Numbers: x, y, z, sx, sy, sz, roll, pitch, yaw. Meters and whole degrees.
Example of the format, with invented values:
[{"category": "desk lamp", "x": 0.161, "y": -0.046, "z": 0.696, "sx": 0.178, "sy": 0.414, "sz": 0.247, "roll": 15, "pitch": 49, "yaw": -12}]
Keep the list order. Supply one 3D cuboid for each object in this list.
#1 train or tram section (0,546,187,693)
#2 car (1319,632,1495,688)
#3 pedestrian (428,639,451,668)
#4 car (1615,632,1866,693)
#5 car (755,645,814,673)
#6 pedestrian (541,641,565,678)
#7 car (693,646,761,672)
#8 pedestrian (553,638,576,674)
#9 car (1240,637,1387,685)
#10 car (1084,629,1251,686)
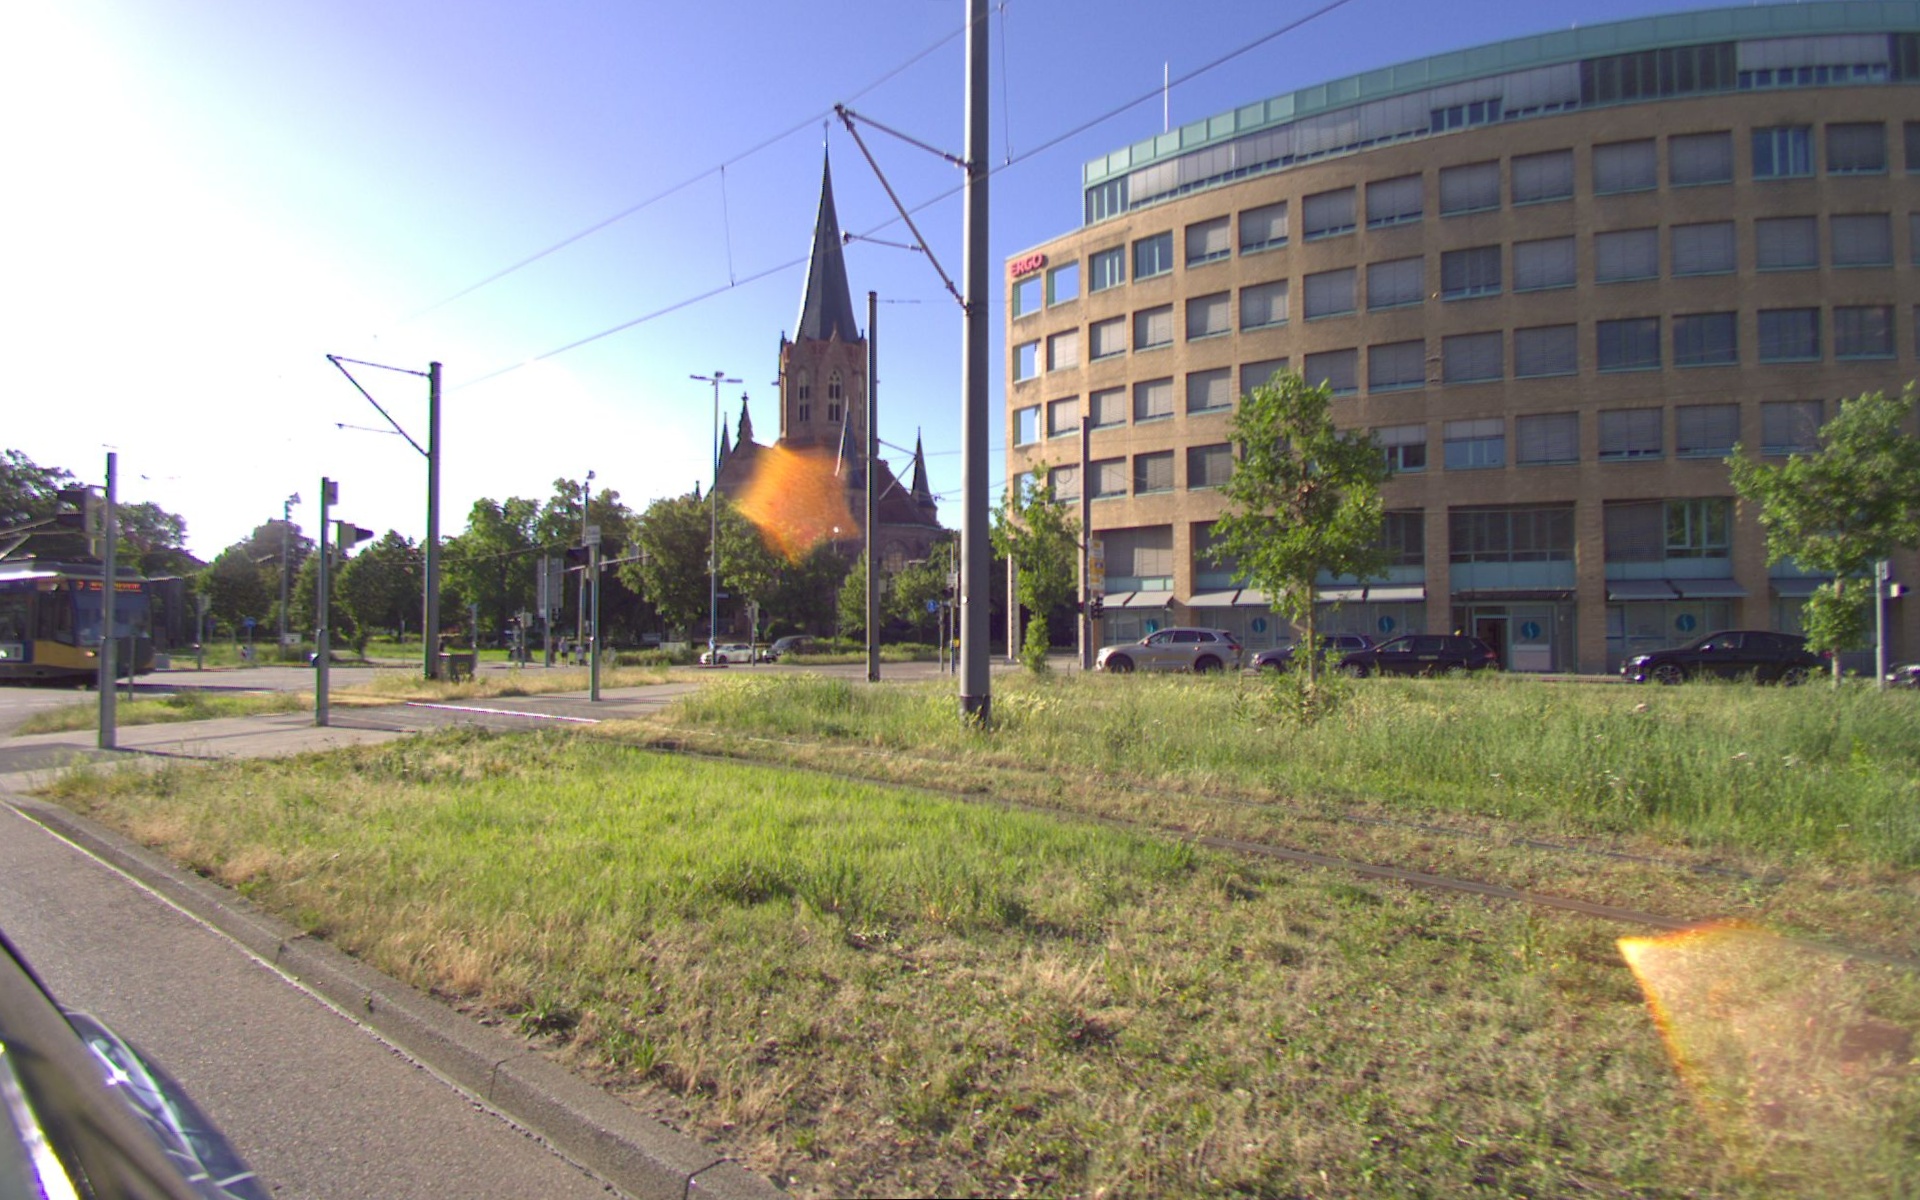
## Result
[{"category": "train or tram section", "x": -28.133, "y": 0.718, "z": 29.622, "sx": 13.104, "sy": 3.713, "sz": 2.934, "roll": -2, "pitch": -2, "yaw": 24}, {"category": "car", "x": 13.246, "y": 1.741, "z": 30.238, "sx": 4.633, "sy": 1.528, "sz": 1.984, "roll": -1, "pitch": -1, "yaw": 24}, {"category": "pedestrian", "x": -34.911, "y": 3.580, "z": 67.882, "sx": 1.108, "sy": 1.861, "sz": 0.839, "roll": -1, "pitch": -1, "yaw": 22}, {"category": "car", "x": 20.634, "y": 1.624, "z": 27.096, "sx": 4.995, "sy": 1.458, "sz": 1.981, "roll": -1, "pitch": -1, "yaw": 28}, {"category": "car", "x": -11.350, "y": 3.806, "z": 65.564, "sx": 1.828, "sy": 1.586, "sz": 3.908, "roll": -1, "pitch": -1, "yaw": 26}, {"category": "pedestrian", "x": -23.372, "y": 3.409, "z": 58.156, "sx": 0.920, "sy": 2.029, "sz": 0.871, "roll": -1, "pitch": -1, "yaw": 26}, {"category": "car", "x": -16.374, "y": 4.141, "z": 71.228, "sx": 1.766, "sy": 1.586, "sz": 4.655, "roll": -1, "pitch": -1, "yaw": 36}, {"category": "pedestrian", "x": -23.046, "y": 3.244, "z": 59.012, "sx": 0.920, "sy": 2.029, "sz": 0.871, "roll": -1, "pitch": -1, "yaw": 26}, {"category": "car", "x": 13.615, "y": 2.285, "z": 38.958, "sx": 5.180, "sy": 1.681, "sz": 2.107, "roll": -1, "pitch": -1, "yaw": 25}, {"category": "car", "x": 6.829, "y": 1.873, "z": 33.343, "sx": 5.053, "sy": 1.747, "sz": 2.090, "roll": -2, "pitch": -2, "yaw": 23}]
